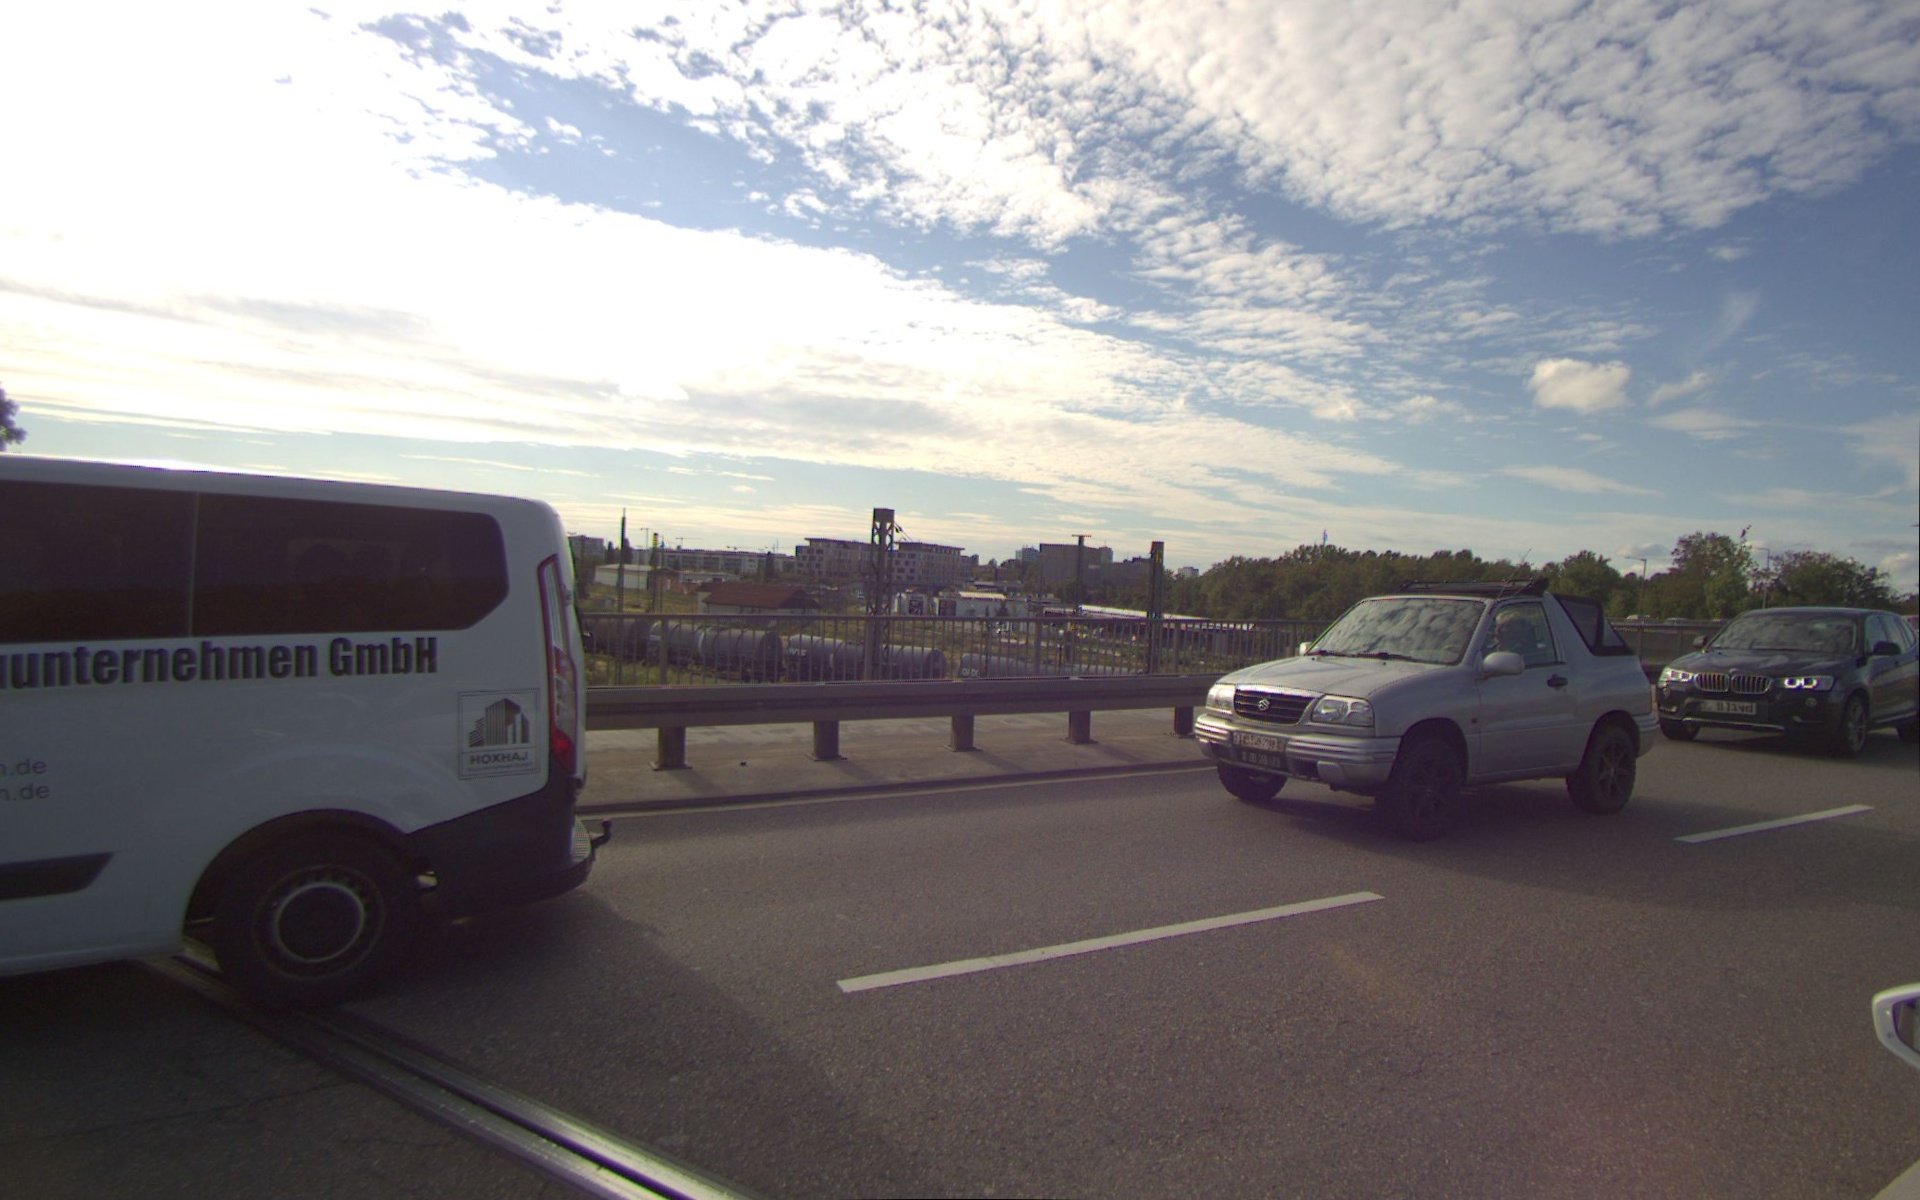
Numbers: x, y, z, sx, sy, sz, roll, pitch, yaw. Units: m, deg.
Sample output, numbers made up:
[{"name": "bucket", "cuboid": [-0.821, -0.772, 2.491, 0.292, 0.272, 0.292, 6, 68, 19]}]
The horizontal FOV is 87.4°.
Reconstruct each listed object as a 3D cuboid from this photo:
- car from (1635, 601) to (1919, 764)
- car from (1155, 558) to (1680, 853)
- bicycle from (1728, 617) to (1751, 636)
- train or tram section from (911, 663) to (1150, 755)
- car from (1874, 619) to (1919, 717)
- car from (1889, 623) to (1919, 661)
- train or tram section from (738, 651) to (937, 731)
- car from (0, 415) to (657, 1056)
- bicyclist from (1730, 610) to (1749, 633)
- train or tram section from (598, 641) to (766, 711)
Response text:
[{"name": "car", "cuboid": [10.500, 0.899, 12.585, 4.583, 1.688, 1.857, 1, 0, -35]}, {"name": "car", "cuboid": [3.558, 0.663, 7.734, 3.790, 1.769, 1.766, 1, 0, -29]}, {"name": "bicycle", "cuboid": [58.299, 1.991, 75.135, 0.751, 1.349, 1.917, 2, 0, 17]}, {"name": "train or tram section", "cuboid": [4.462, 7.131, 68.320, 16.450, 4.775, 3.091, 1, 0, 30]}, {"name": "car", "cuboid": [17.181, 1.136, 17.264, 3.890, 1.566, 1.669, 1, 0, -40]}, {"name": "car", "cuboid": [51.422, 2.241, 53.698, 1.981, 1.929, 4.850, 1, 0, 36]}, {"name": "train or tram section", "cuboid": [-9.620, 6.705, 76.612, 16.450, 4.775, 3.091, 1, 0, 30]}, {"name": "car", "cuboid": [-3.882, 0.408, 3.750, 4.984, 1.990, 1.977, 1, 0, -28]}, {"name": "bicyclist", "cuboid": [58.374, 1.588, 75.252, 0.753, 1.683, 1.120, 2, 0, 17]}, {"name": "train or tram section", "cuboid": [-23.774, 6.245, 85.009, 16.450, 4.775, 3.091, 1, 0, 30]}]
